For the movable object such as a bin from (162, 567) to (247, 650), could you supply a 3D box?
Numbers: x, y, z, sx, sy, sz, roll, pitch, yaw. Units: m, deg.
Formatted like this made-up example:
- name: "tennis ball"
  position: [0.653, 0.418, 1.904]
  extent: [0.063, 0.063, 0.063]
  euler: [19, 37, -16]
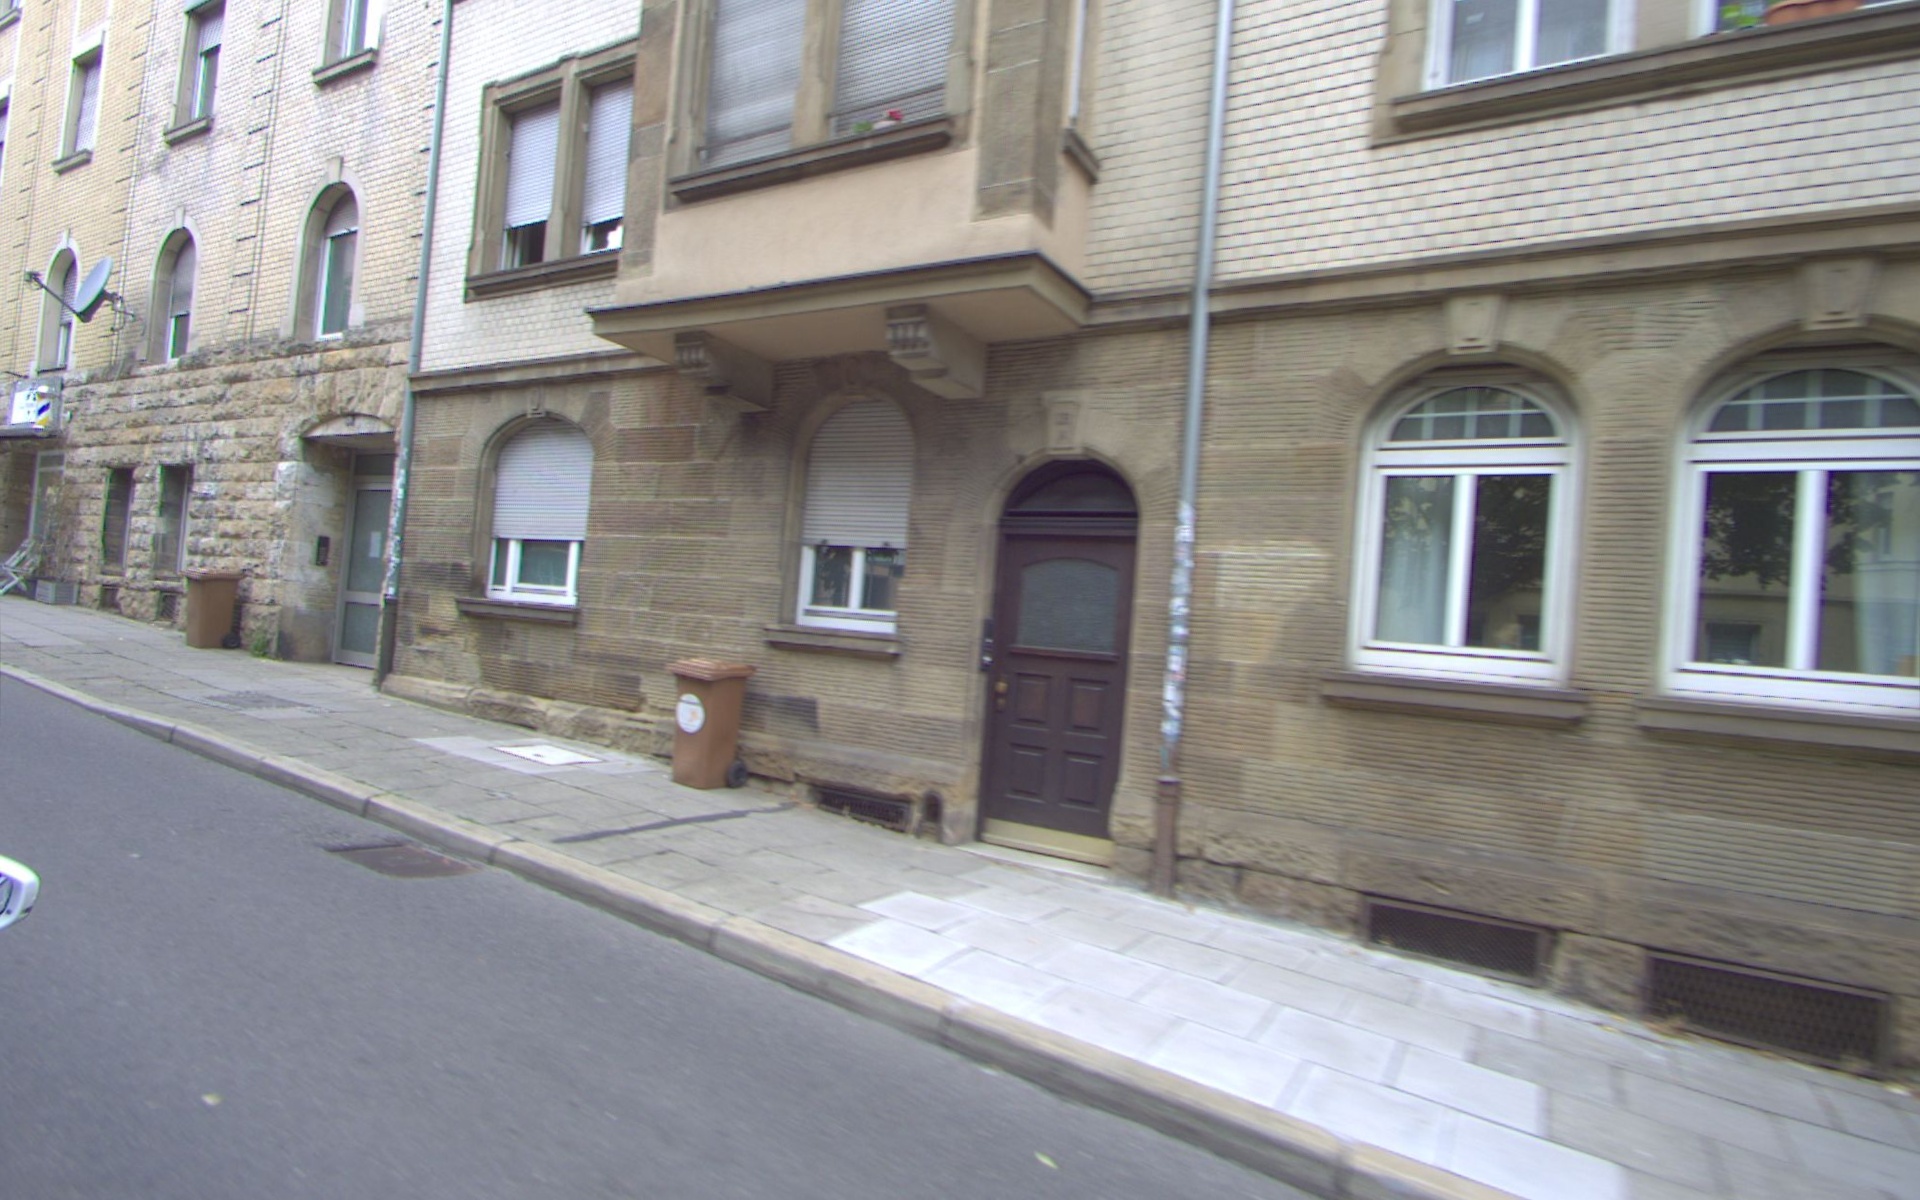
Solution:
- name: "movable object such as a bin"
  position: [-8.983, 0.103, 11.969]
  extent: [0.495, 0.914, 0.595]
  euler: [2, -4, 32]

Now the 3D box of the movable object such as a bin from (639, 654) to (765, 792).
- name: "movable object such as a bin"
  position: [-1.920, 0.906, 7.517]
  extent: [0.553, 0.914, 0.595]
  euler: [6, -2, 32]
